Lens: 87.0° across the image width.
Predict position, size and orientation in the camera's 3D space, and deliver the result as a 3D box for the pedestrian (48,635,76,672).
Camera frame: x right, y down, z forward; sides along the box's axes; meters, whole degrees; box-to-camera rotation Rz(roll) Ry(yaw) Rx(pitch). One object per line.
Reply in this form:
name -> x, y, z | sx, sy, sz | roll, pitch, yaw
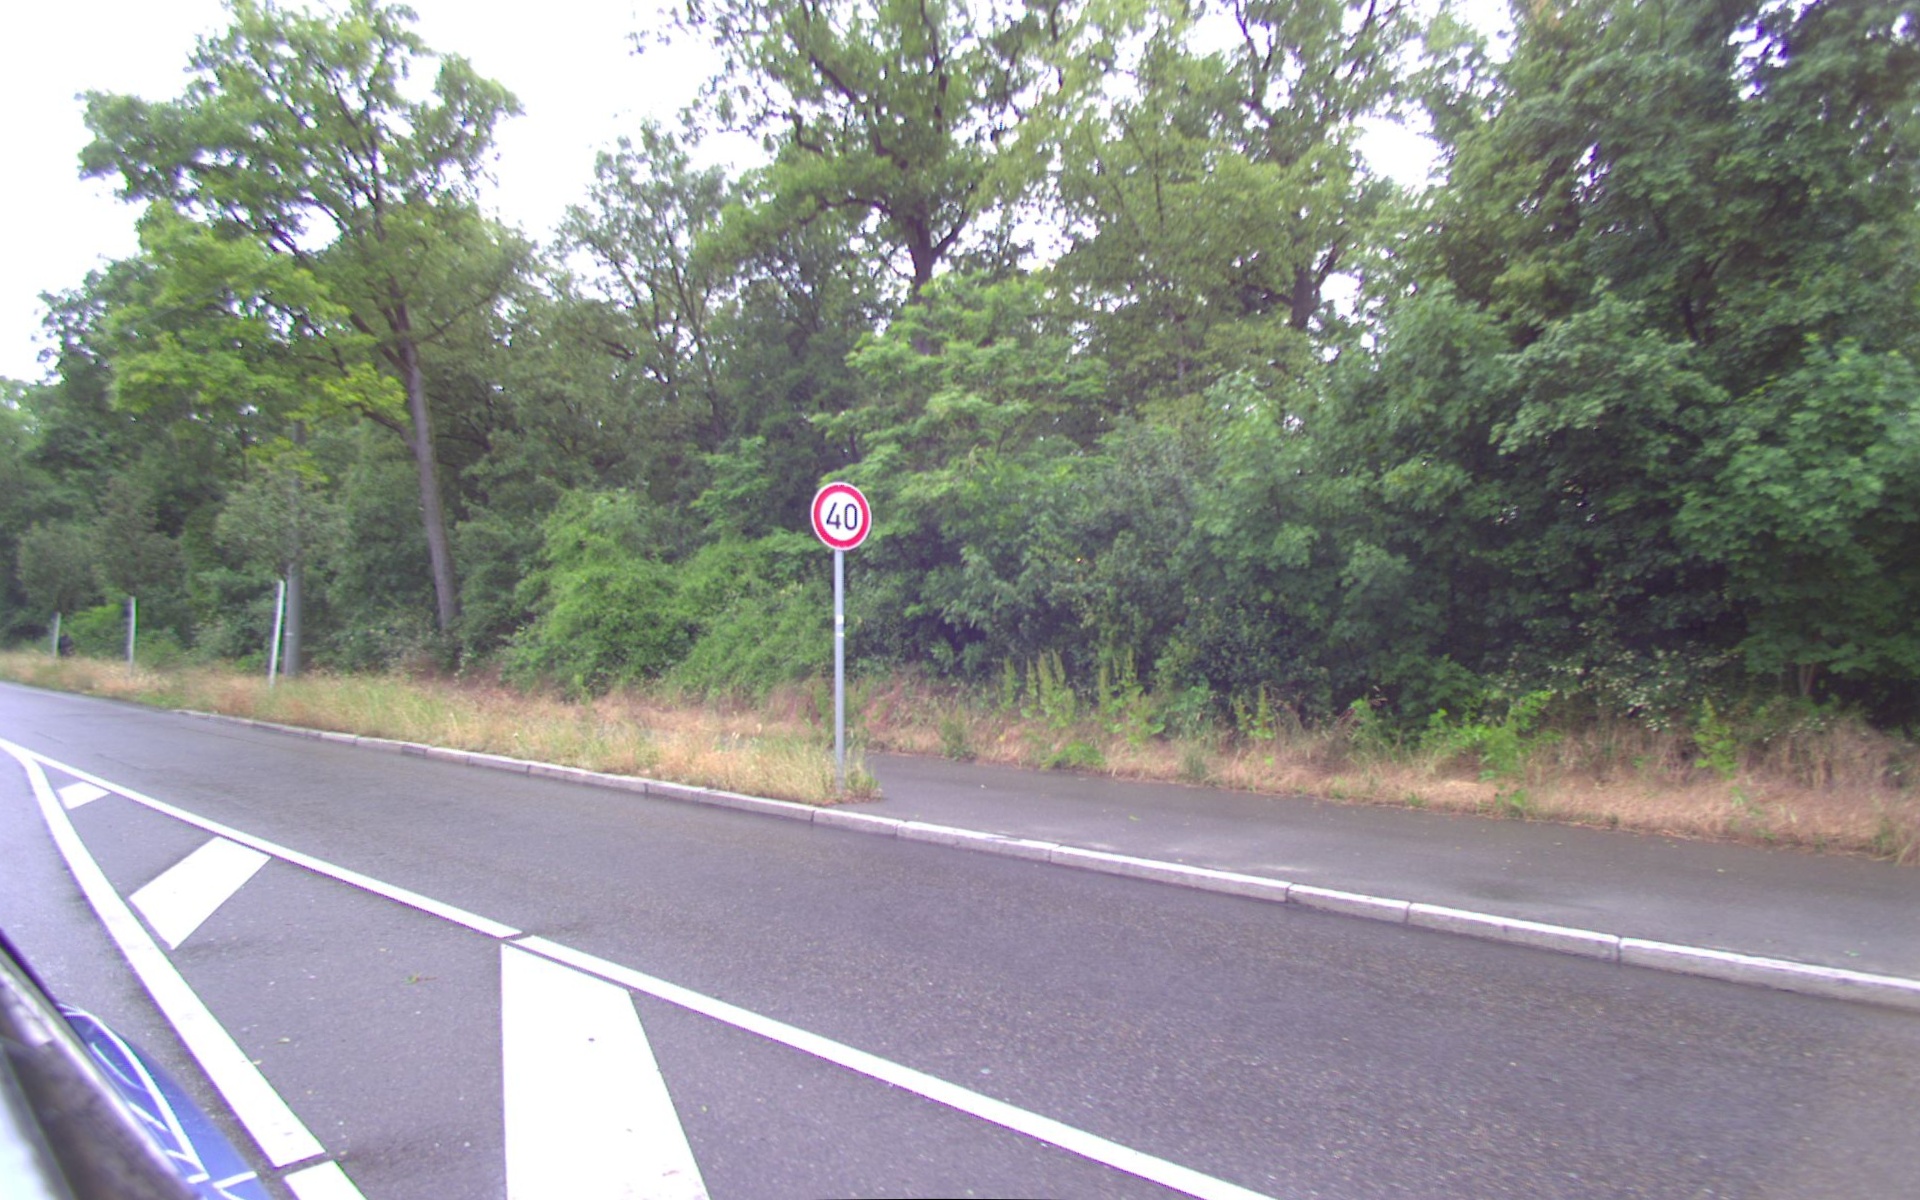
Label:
pedestrian -> -39.258, 2.334, 44.245 | 0.731, 1.620, 0.773 | -2, -3, 38
